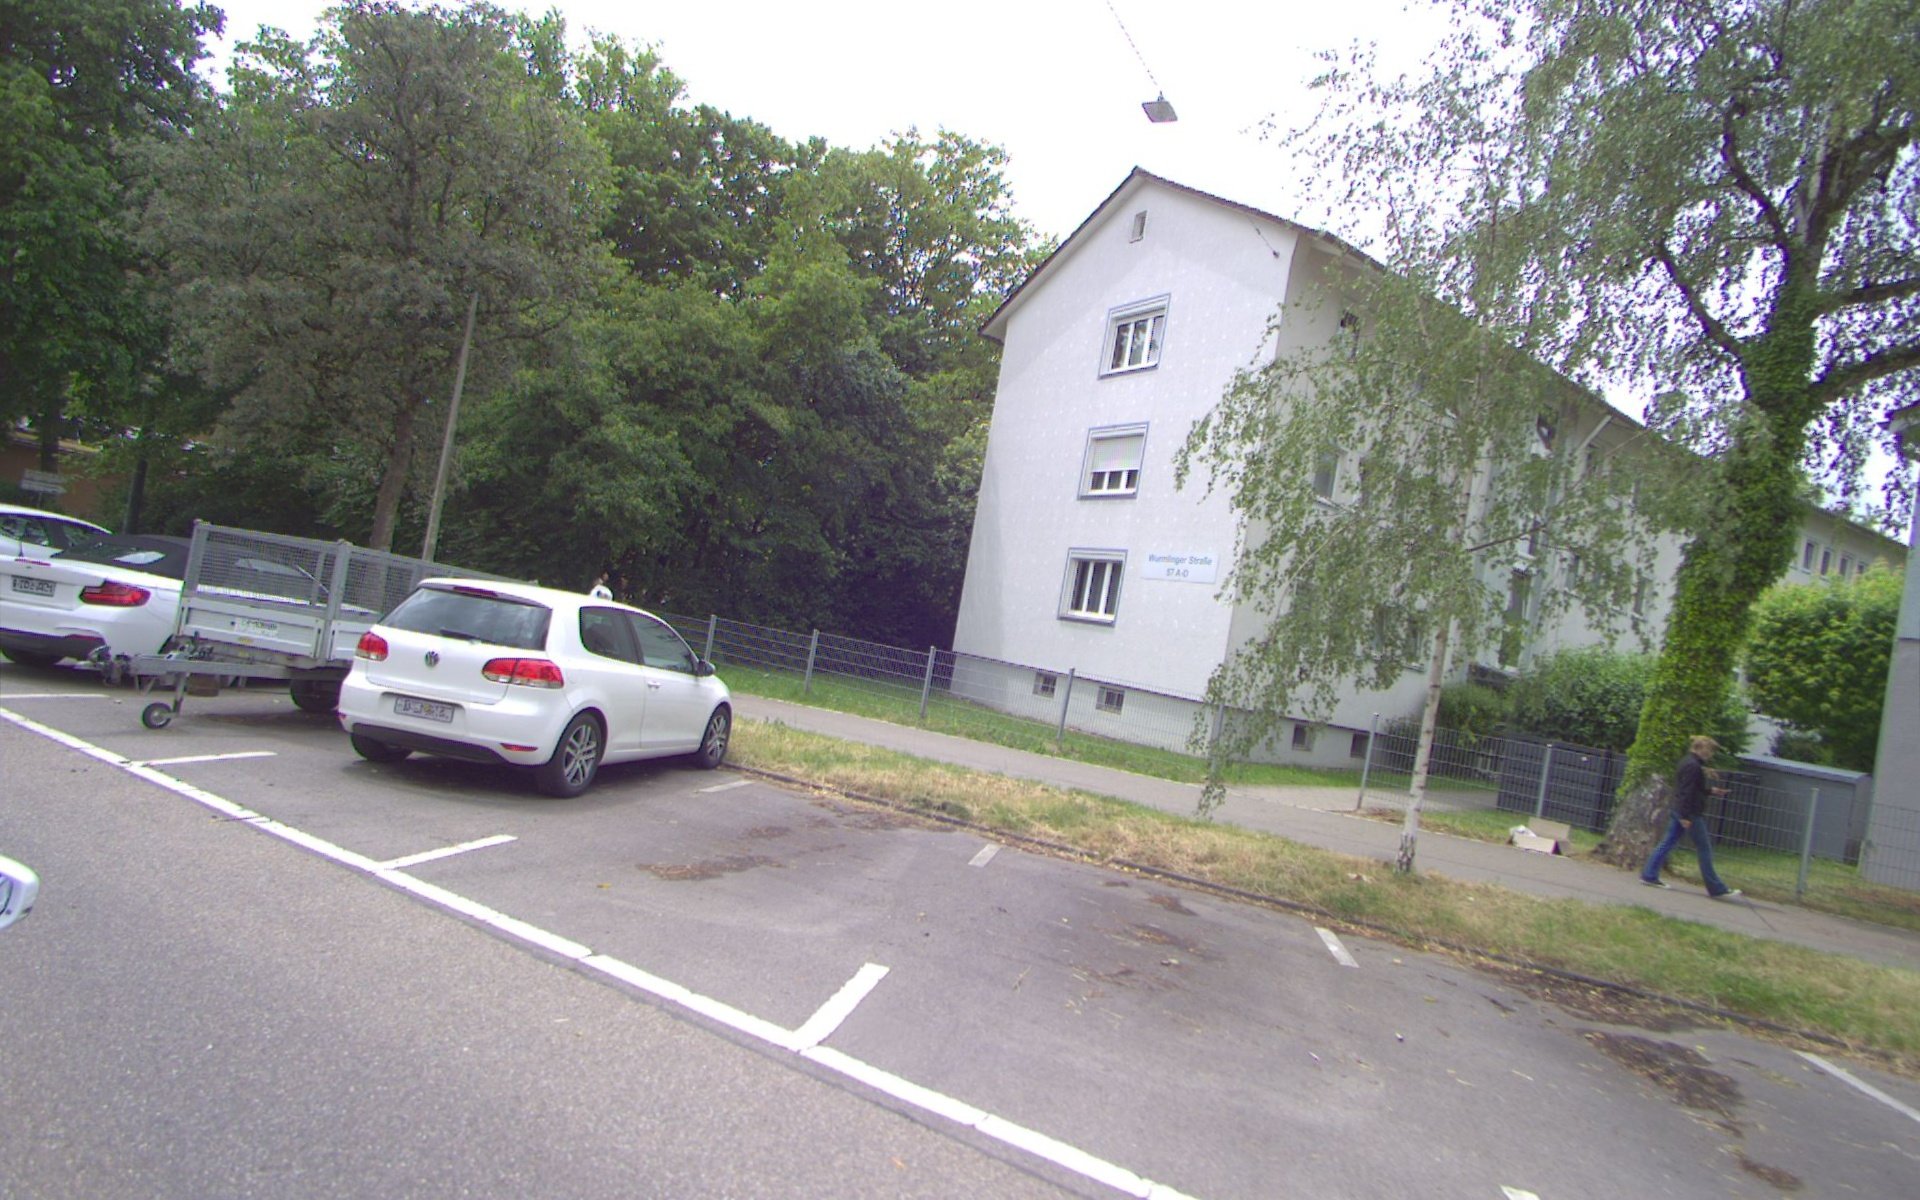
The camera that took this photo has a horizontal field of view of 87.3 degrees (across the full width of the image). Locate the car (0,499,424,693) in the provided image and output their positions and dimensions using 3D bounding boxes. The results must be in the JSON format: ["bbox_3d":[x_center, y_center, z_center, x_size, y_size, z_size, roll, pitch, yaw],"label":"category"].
[{"bbox_3d":[-7.811,0.070,10.479,1.816,1.479,4.008,8,-4,6],"label":"car"}]

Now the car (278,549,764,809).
[{"bbox_3d":[-3.344,0.680,8.685,1.757,1.479,4.009,8,-4,10],"label":"car"}]

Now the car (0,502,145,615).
[{"bbox_3d":[-14.774,-0.796,14.726,1.830,1.479,4.009,8,-4,13],"label":"car"}]

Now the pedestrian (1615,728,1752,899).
[{"bbox_3d":[7.333,2.134,10.232,0.763,1.521,0.695,8,-1,11],"label":"pedestrian"}]

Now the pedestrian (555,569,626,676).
[{"bbox_3d":[-6.211,0.378,16.904,0.689,1.662,0.769,9,-2,-40],"label":"pedestrian"}]

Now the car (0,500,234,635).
[{"bbox_3d":[-12.456,-0.503,13.613,1.762,1.479,4.009,8,-4,11],"label":"car"}]

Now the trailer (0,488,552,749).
[{"bbox_3d":[-5.627,0.255,8.836,1.627,1.569,4.006,8,-2,13],"label":"trailer"}]
